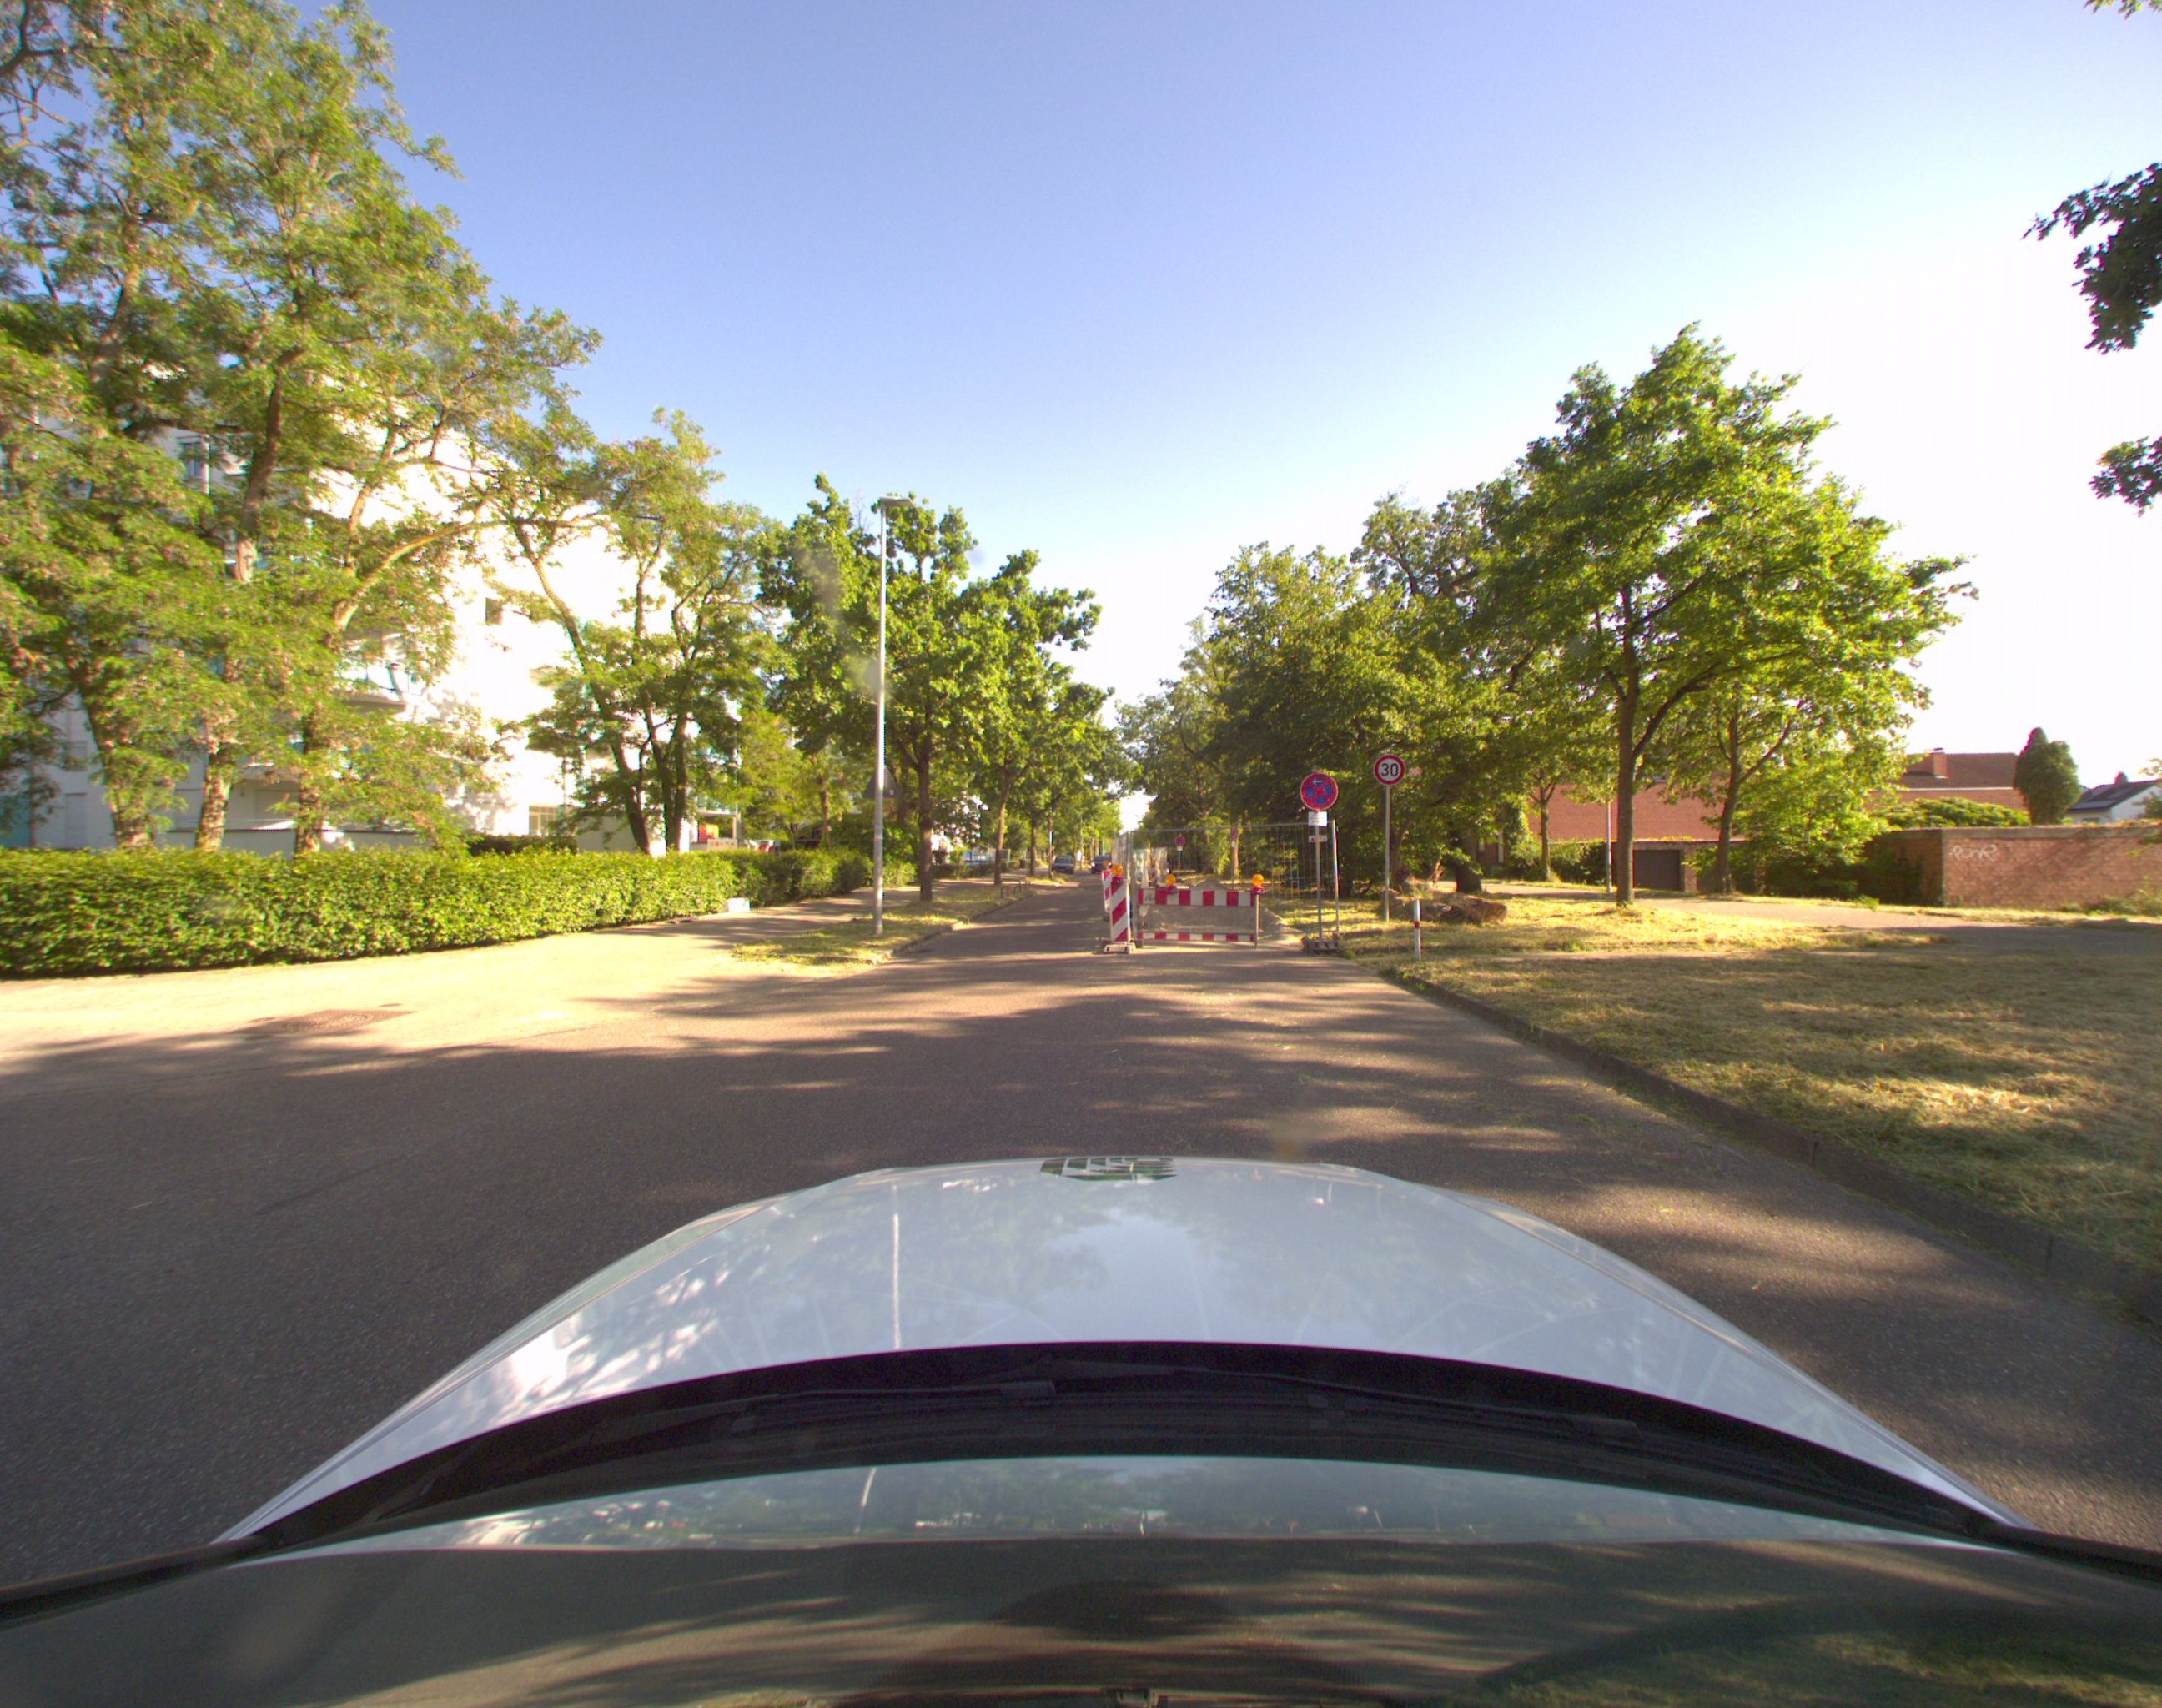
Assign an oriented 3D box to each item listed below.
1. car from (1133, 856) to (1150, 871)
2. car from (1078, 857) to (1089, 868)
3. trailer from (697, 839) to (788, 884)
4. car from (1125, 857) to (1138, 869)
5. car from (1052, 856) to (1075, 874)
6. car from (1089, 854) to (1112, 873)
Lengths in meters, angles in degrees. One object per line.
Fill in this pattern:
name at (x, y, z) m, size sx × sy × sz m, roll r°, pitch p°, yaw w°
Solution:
car at (5.779, 0.909, 77.733) m, size 1.356 × 1.302 × 3.481 m, roll 1°, pitch -1°, yaw 1°
car at (0.348, 1.087, 103.518) m, size 1.356 × 1.302 × 3.481 m, roll 1°, pitch -1°, yaw 1°
trailer at (-16.332, 0.341, 39.530) m, size 1.964 × 2.042 × 4.442 m, roll 0°, pitch 0°, yaw 10°
car at (5.620, 0.966, 90.727) m, size 1.356 × 1.302 × 3.481 m, roll 1°, pitch -1°, yaw 1°
car at (-1.460, 0.908, 68.289) m, size 1.744 × 1.478 × 3.838 m, roll 0°, pitch 0°, yaw 2°
car at (1.799, 0.821, 73.494) m, size 1.814 × 1.625 × 4.496 m, roll -2°, pitch 0°, yaw 3°
